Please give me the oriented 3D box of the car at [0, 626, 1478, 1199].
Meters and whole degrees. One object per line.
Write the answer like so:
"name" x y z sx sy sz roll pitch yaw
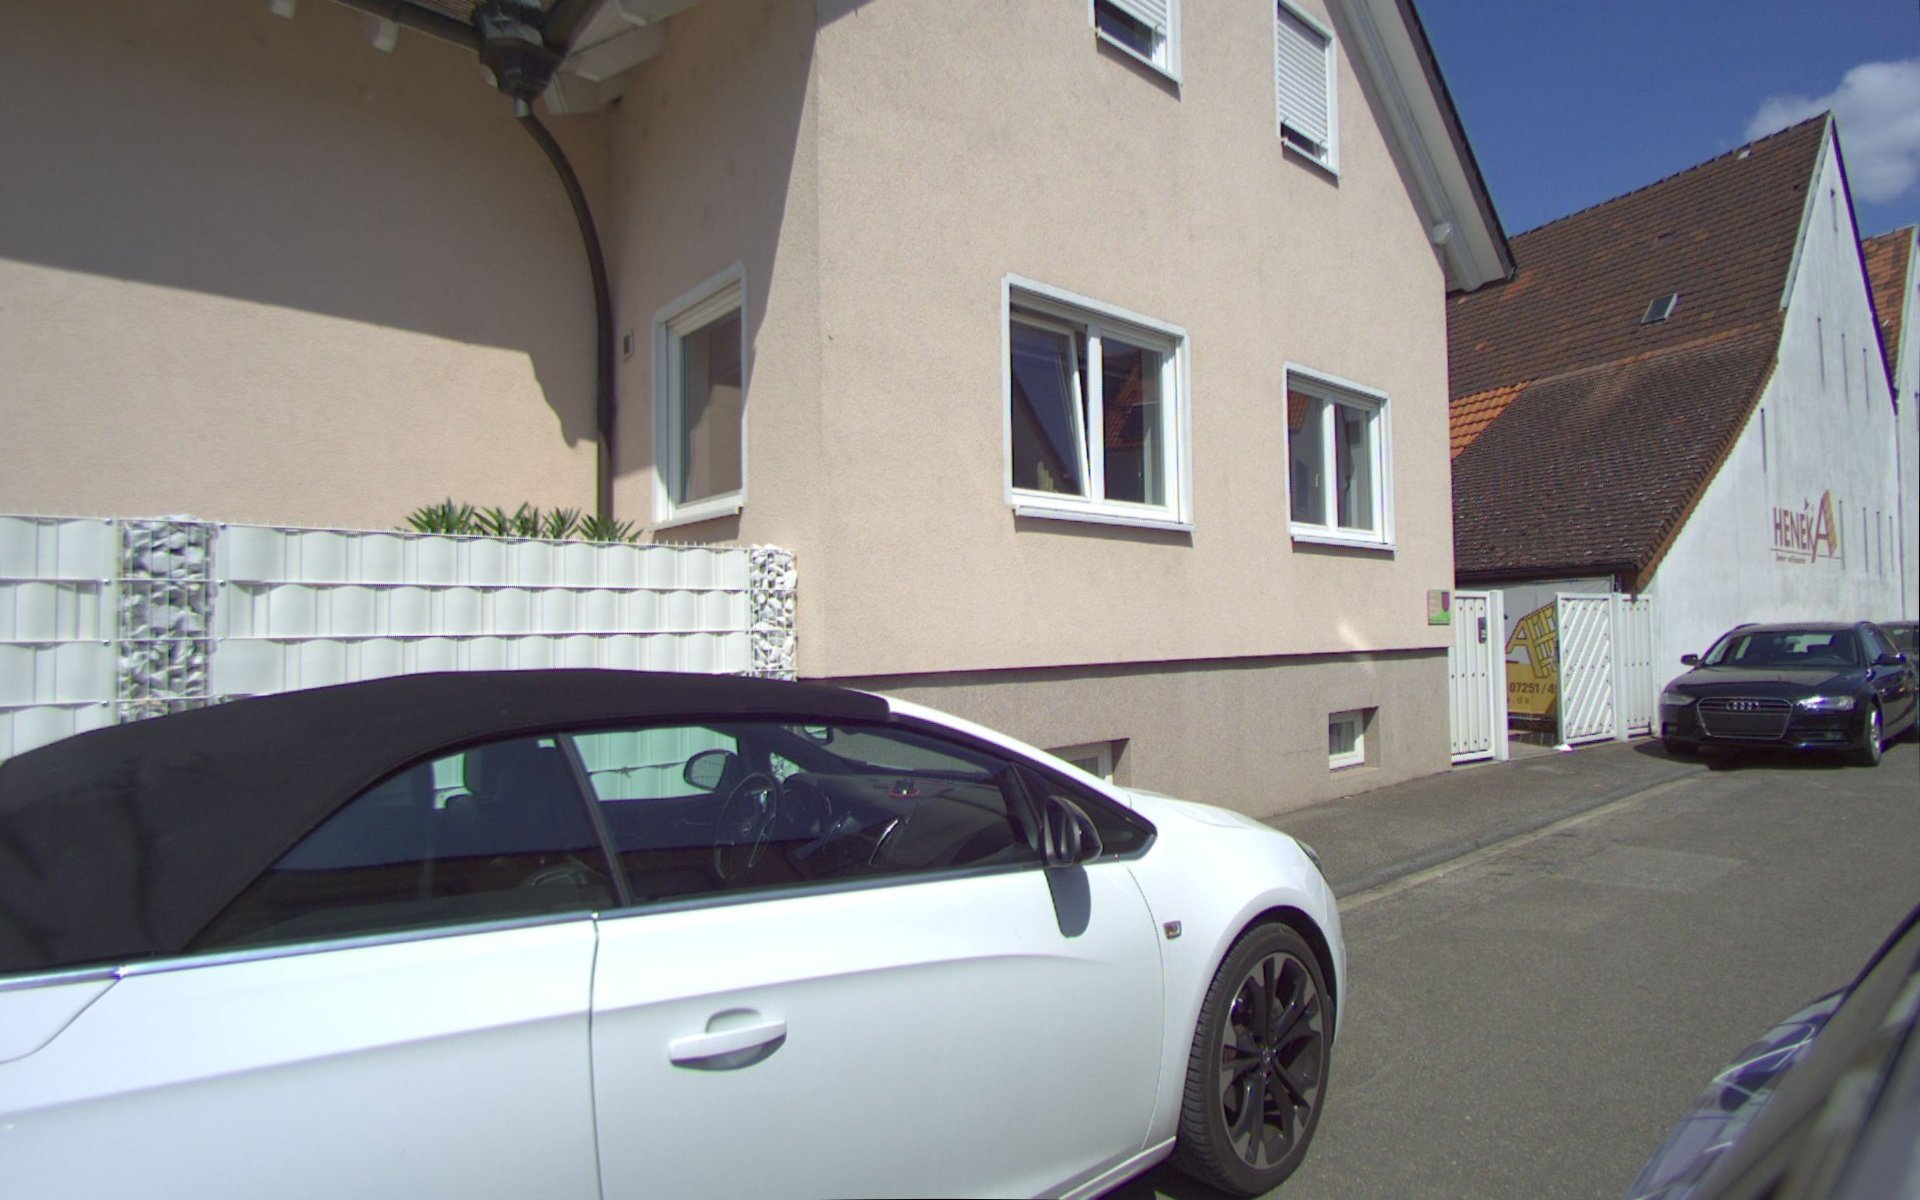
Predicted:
"car" -0.641 0.857 2.696 4.653 1.447 1.898 0 -3 -40

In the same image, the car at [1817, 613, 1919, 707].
"car" 15.854 0.909 16.535 4.333 1.383 1.900 0 -3 -37

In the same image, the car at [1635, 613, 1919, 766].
"car" 9.681 0.888 11.602 4.652 1.383 1.899 0 -3 -39
